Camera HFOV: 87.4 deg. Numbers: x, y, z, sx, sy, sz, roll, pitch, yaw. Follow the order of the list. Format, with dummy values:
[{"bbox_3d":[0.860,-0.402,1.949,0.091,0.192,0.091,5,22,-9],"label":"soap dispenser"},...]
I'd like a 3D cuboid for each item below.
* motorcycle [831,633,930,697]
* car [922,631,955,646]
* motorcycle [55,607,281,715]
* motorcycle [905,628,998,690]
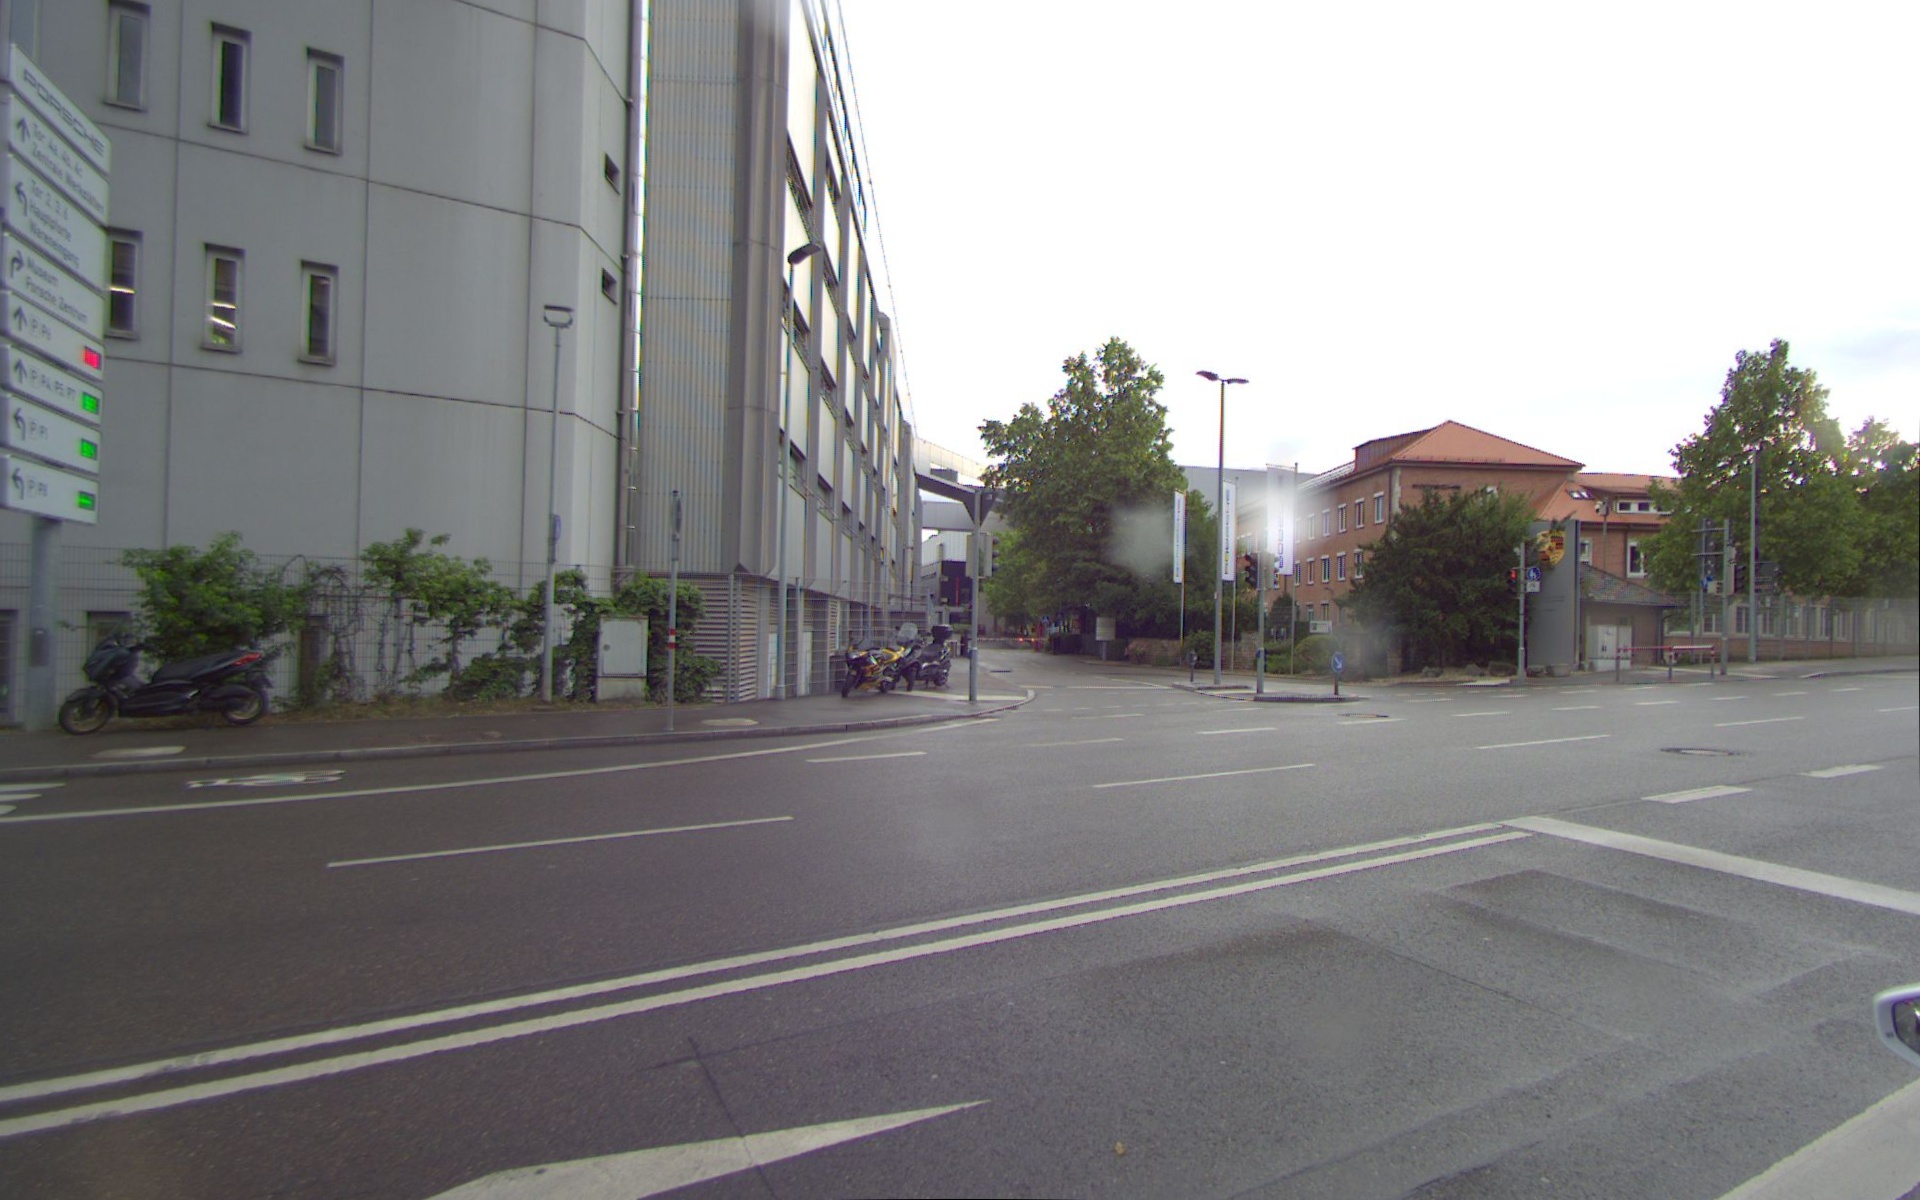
[{"bbox_3d":[-1.608,1.311,20.945,0.759,1.234,2.504,0,-1,31],"label":"motorcycle"},{"bbox_3d":[-2.826,5.055,132.053,3.913,1.849,1.955,2,1,-31],"label":"car"},{"bbox_3d":[-9.913,0.747,12.707,2.133,1.263,0.780,1,-1,-31],"label":"motorcycle"},{"bbox_3d":[-0.151,1.329,23.381,1.008,1.355,2.772,-1,-2,27],"label":"motorcycle"}]
